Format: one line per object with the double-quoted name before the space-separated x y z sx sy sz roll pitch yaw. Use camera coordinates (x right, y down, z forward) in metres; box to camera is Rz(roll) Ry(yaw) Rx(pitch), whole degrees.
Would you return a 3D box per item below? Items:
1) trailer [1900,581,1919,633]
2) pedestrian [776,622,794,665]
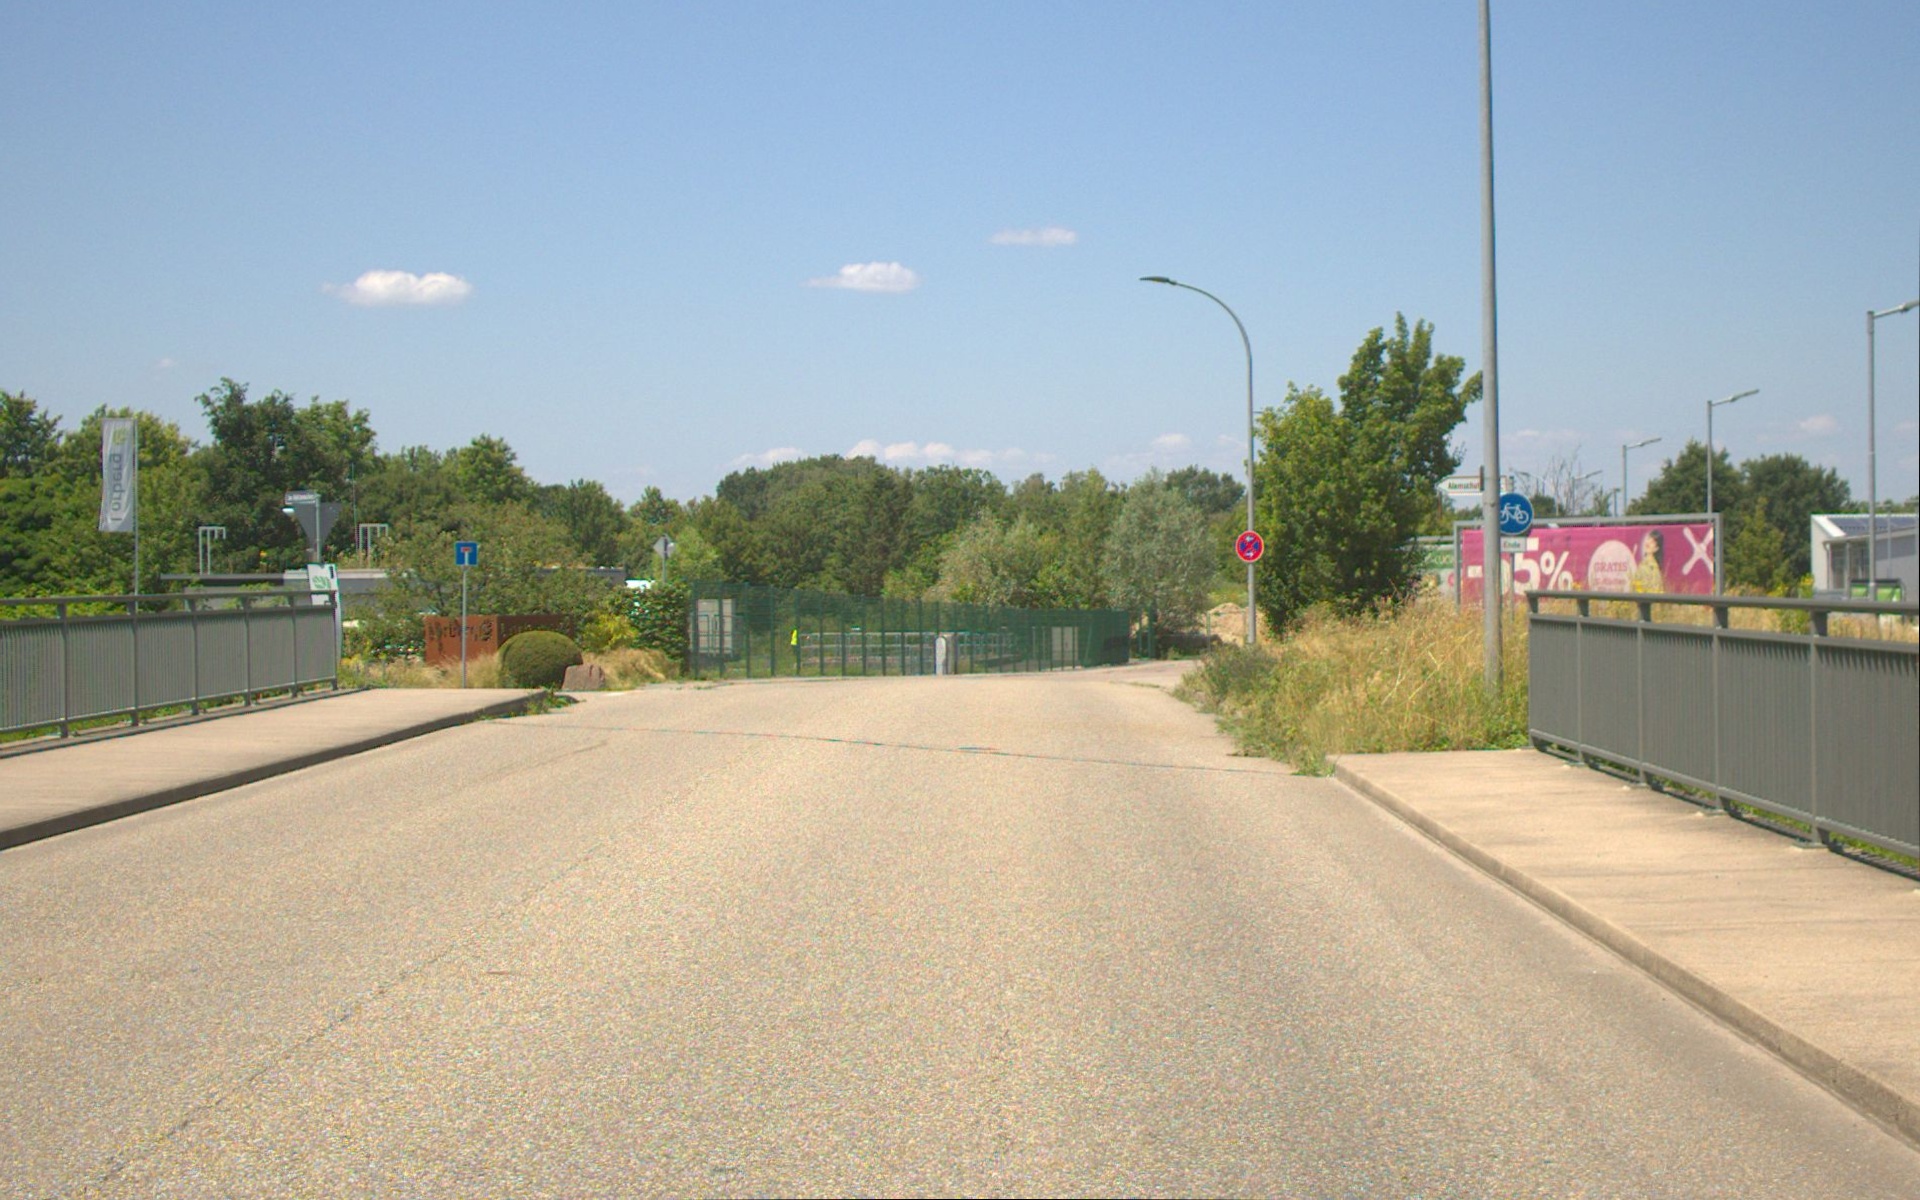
"trailer" 27.594 0.201 92.857 3.988 1.393 1.764 1 0 6
"pedestrian" -7.510 1.851 147.580 0.606 1.833 0.804 -1 -1 9
